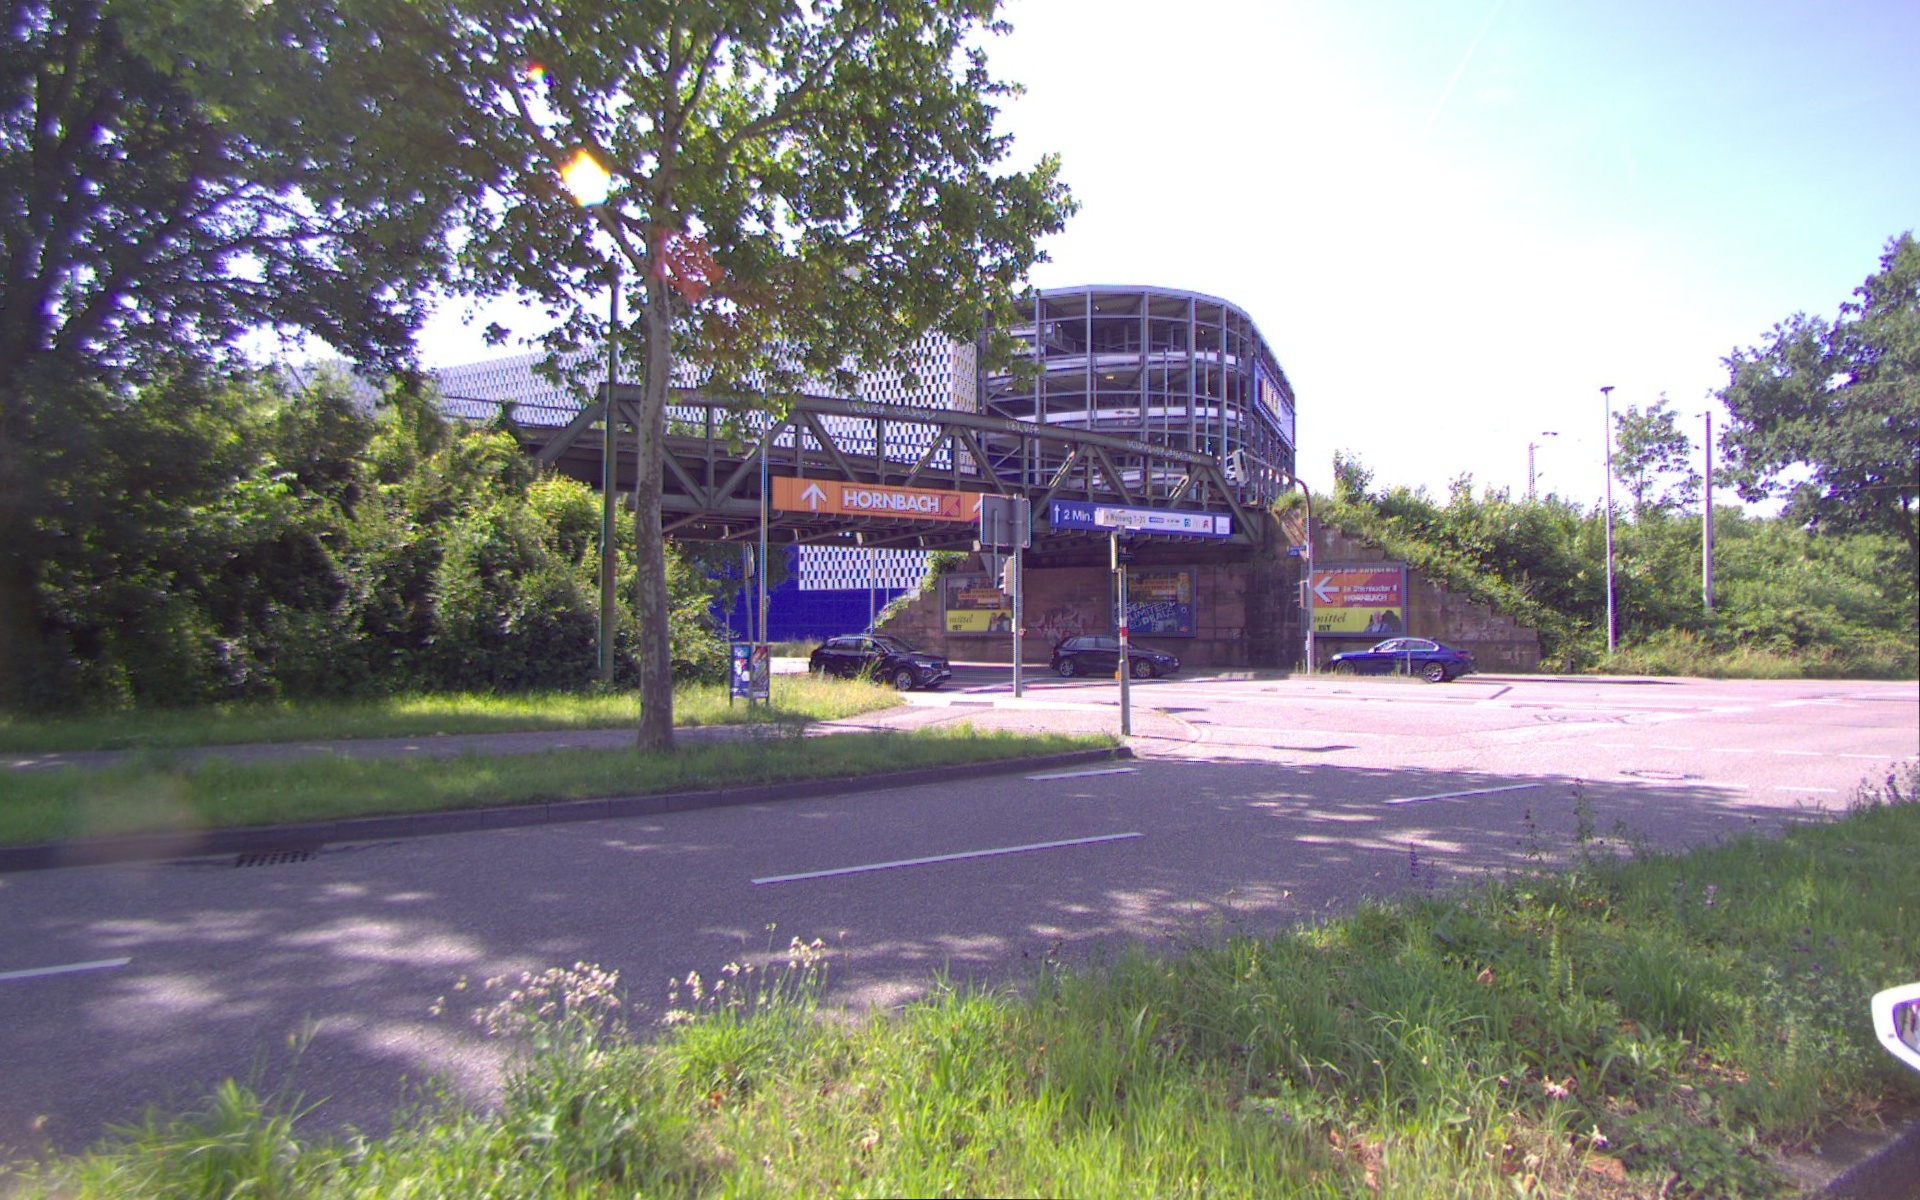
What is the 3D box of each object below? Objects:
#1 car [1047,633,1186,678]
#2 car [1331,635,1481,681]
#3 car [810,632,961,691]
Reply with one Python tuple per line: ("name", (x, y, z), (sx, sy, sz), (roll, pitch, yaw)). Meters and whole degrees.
("car", (5.174, 1.818, 33.332), (4.253, 1.413, 1.770), (-1, -2, 25))
("car", (14.800, 1.880, 33.449), (4.260, 1.415, 1.784), (-1, -2, 40))
("car", (-2.104, 1.692, 28.375), (3.869, 1.500, 1.822), (1, -1, 26))
